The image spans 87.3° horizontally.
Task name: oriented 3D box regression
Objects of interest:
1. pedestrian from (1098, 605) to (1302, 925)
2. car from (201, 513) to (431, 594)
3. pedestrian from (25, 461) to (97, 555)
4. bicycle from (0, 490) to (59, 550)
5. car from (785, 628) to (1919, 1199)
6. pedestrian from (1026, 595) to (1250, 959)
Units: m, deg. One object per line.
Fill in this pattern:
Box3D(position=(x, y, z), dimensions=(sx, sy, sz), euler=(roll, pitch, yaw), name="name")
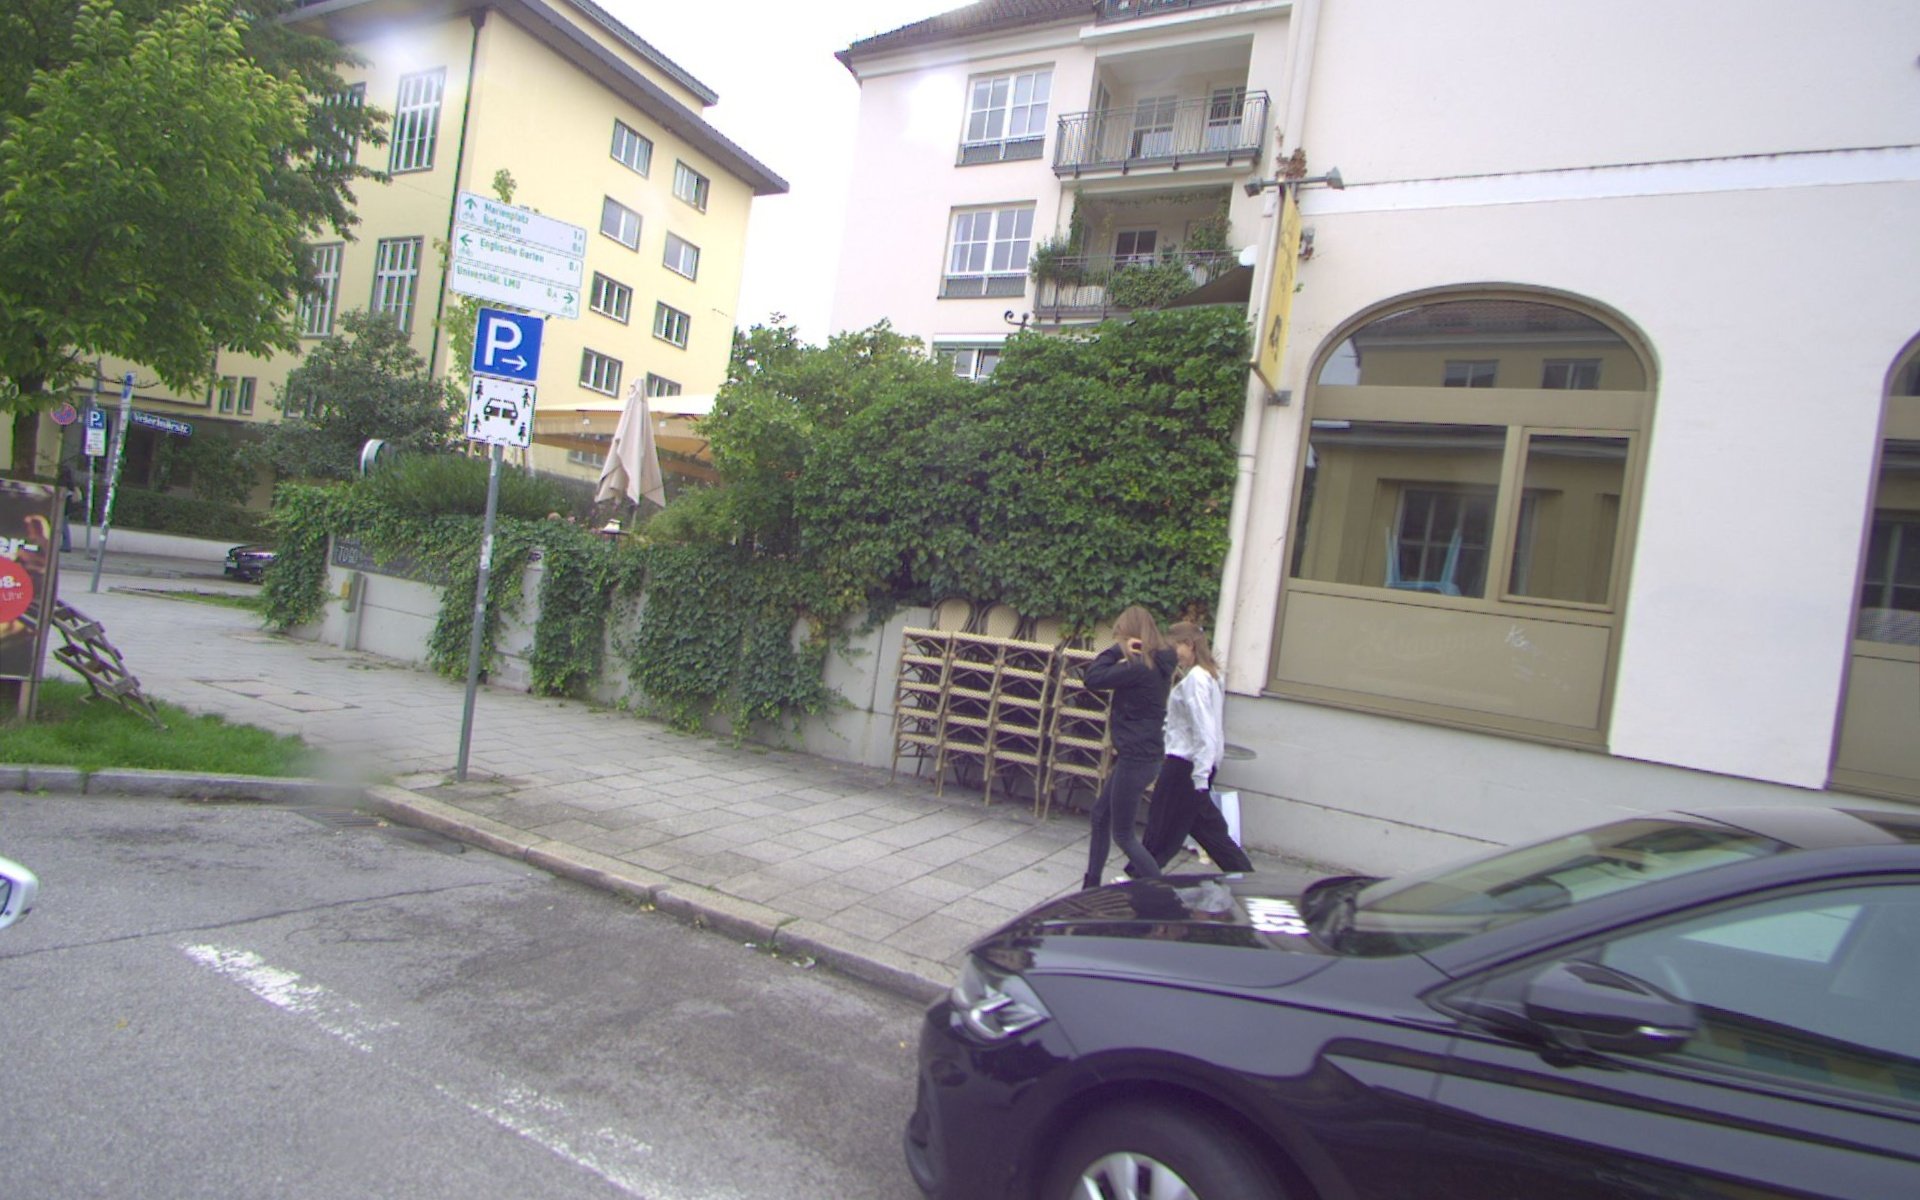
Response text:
Box3D(position=(1.417, 0.899, 5.865), dimensions=(0.815, 1.626, 0.808), euler=(7, 1, 28), name="pedestrian")
Box3D(position=(-15.301, -1.048, 24.166), dimensions=(1.634, 1.383, 4.327), euler=(5, -2, 30), name="car")
Box3D(position=(-19.522, -1.991, 21.850), dimensions=(0.753, 1.881, 0.851), euler=(7, 2, 28), name="pedestrian")
Box3D(position=(-20.540, -1.768, 21.580), dimensions=(0.452, 1.144, 1.686), euler=(8, 0, 27), name="bicycle")
Box3D(position=(1.803, 1.102, 2.233), dimensions=(3.929, 1.409, 1.722), euler=(8, -3, 25), name="car")
Box3D(position=(0.934, 0.855, 5.222), dimensions=(0.815, 1.649, 0.679), euler=(7, 1, 27), name="pedestrian")
